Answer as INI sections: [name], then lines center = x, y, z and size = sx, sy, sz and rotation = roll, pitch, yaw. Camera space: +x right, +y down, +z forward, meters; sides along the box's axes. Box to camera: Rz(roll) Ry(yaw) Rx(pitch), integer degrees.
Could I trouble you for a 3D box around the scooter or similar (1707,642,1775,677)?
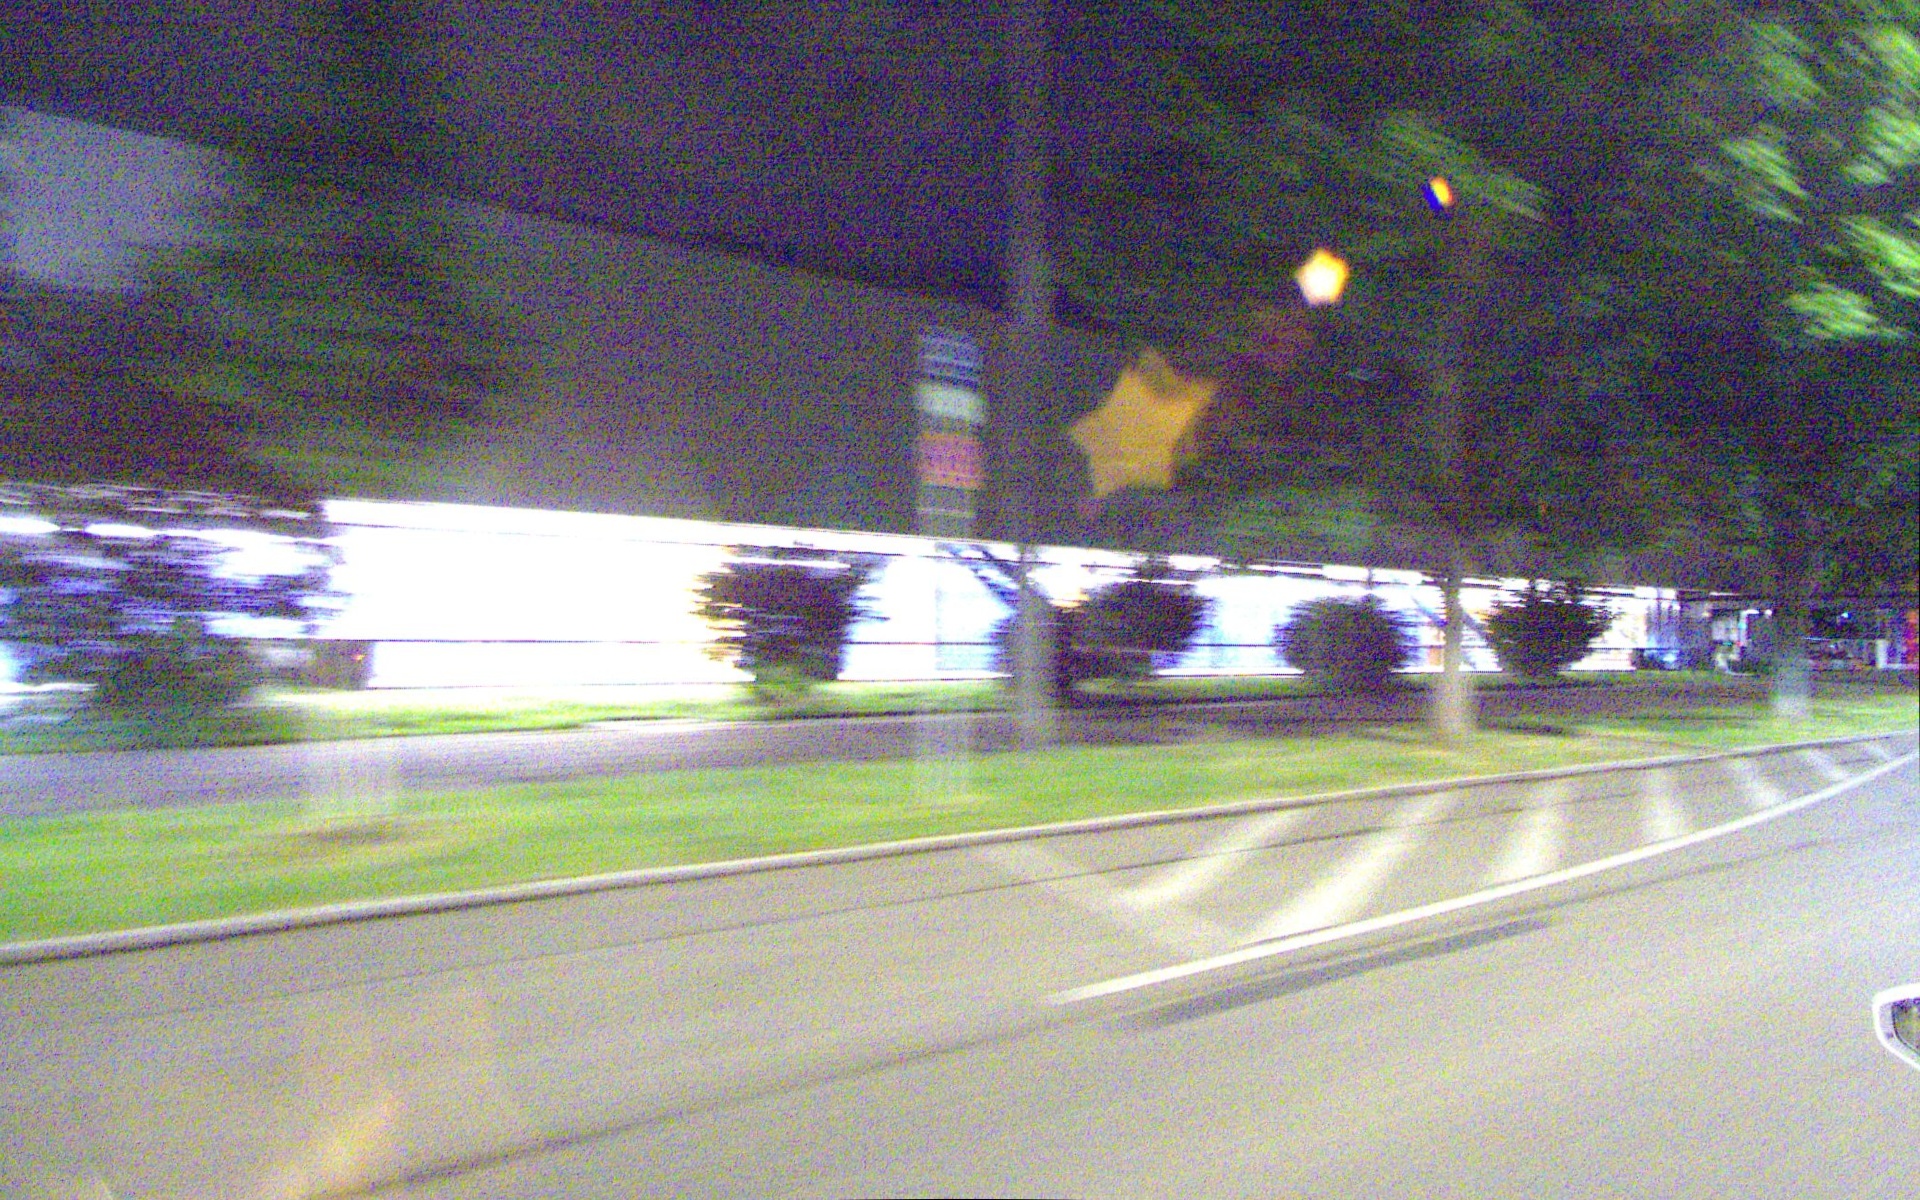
[scooter or similar]
center = 25.760, 1.941, 33.165
size = 0.537, 1.021, 1.667
rotation = 1, 1, -27
